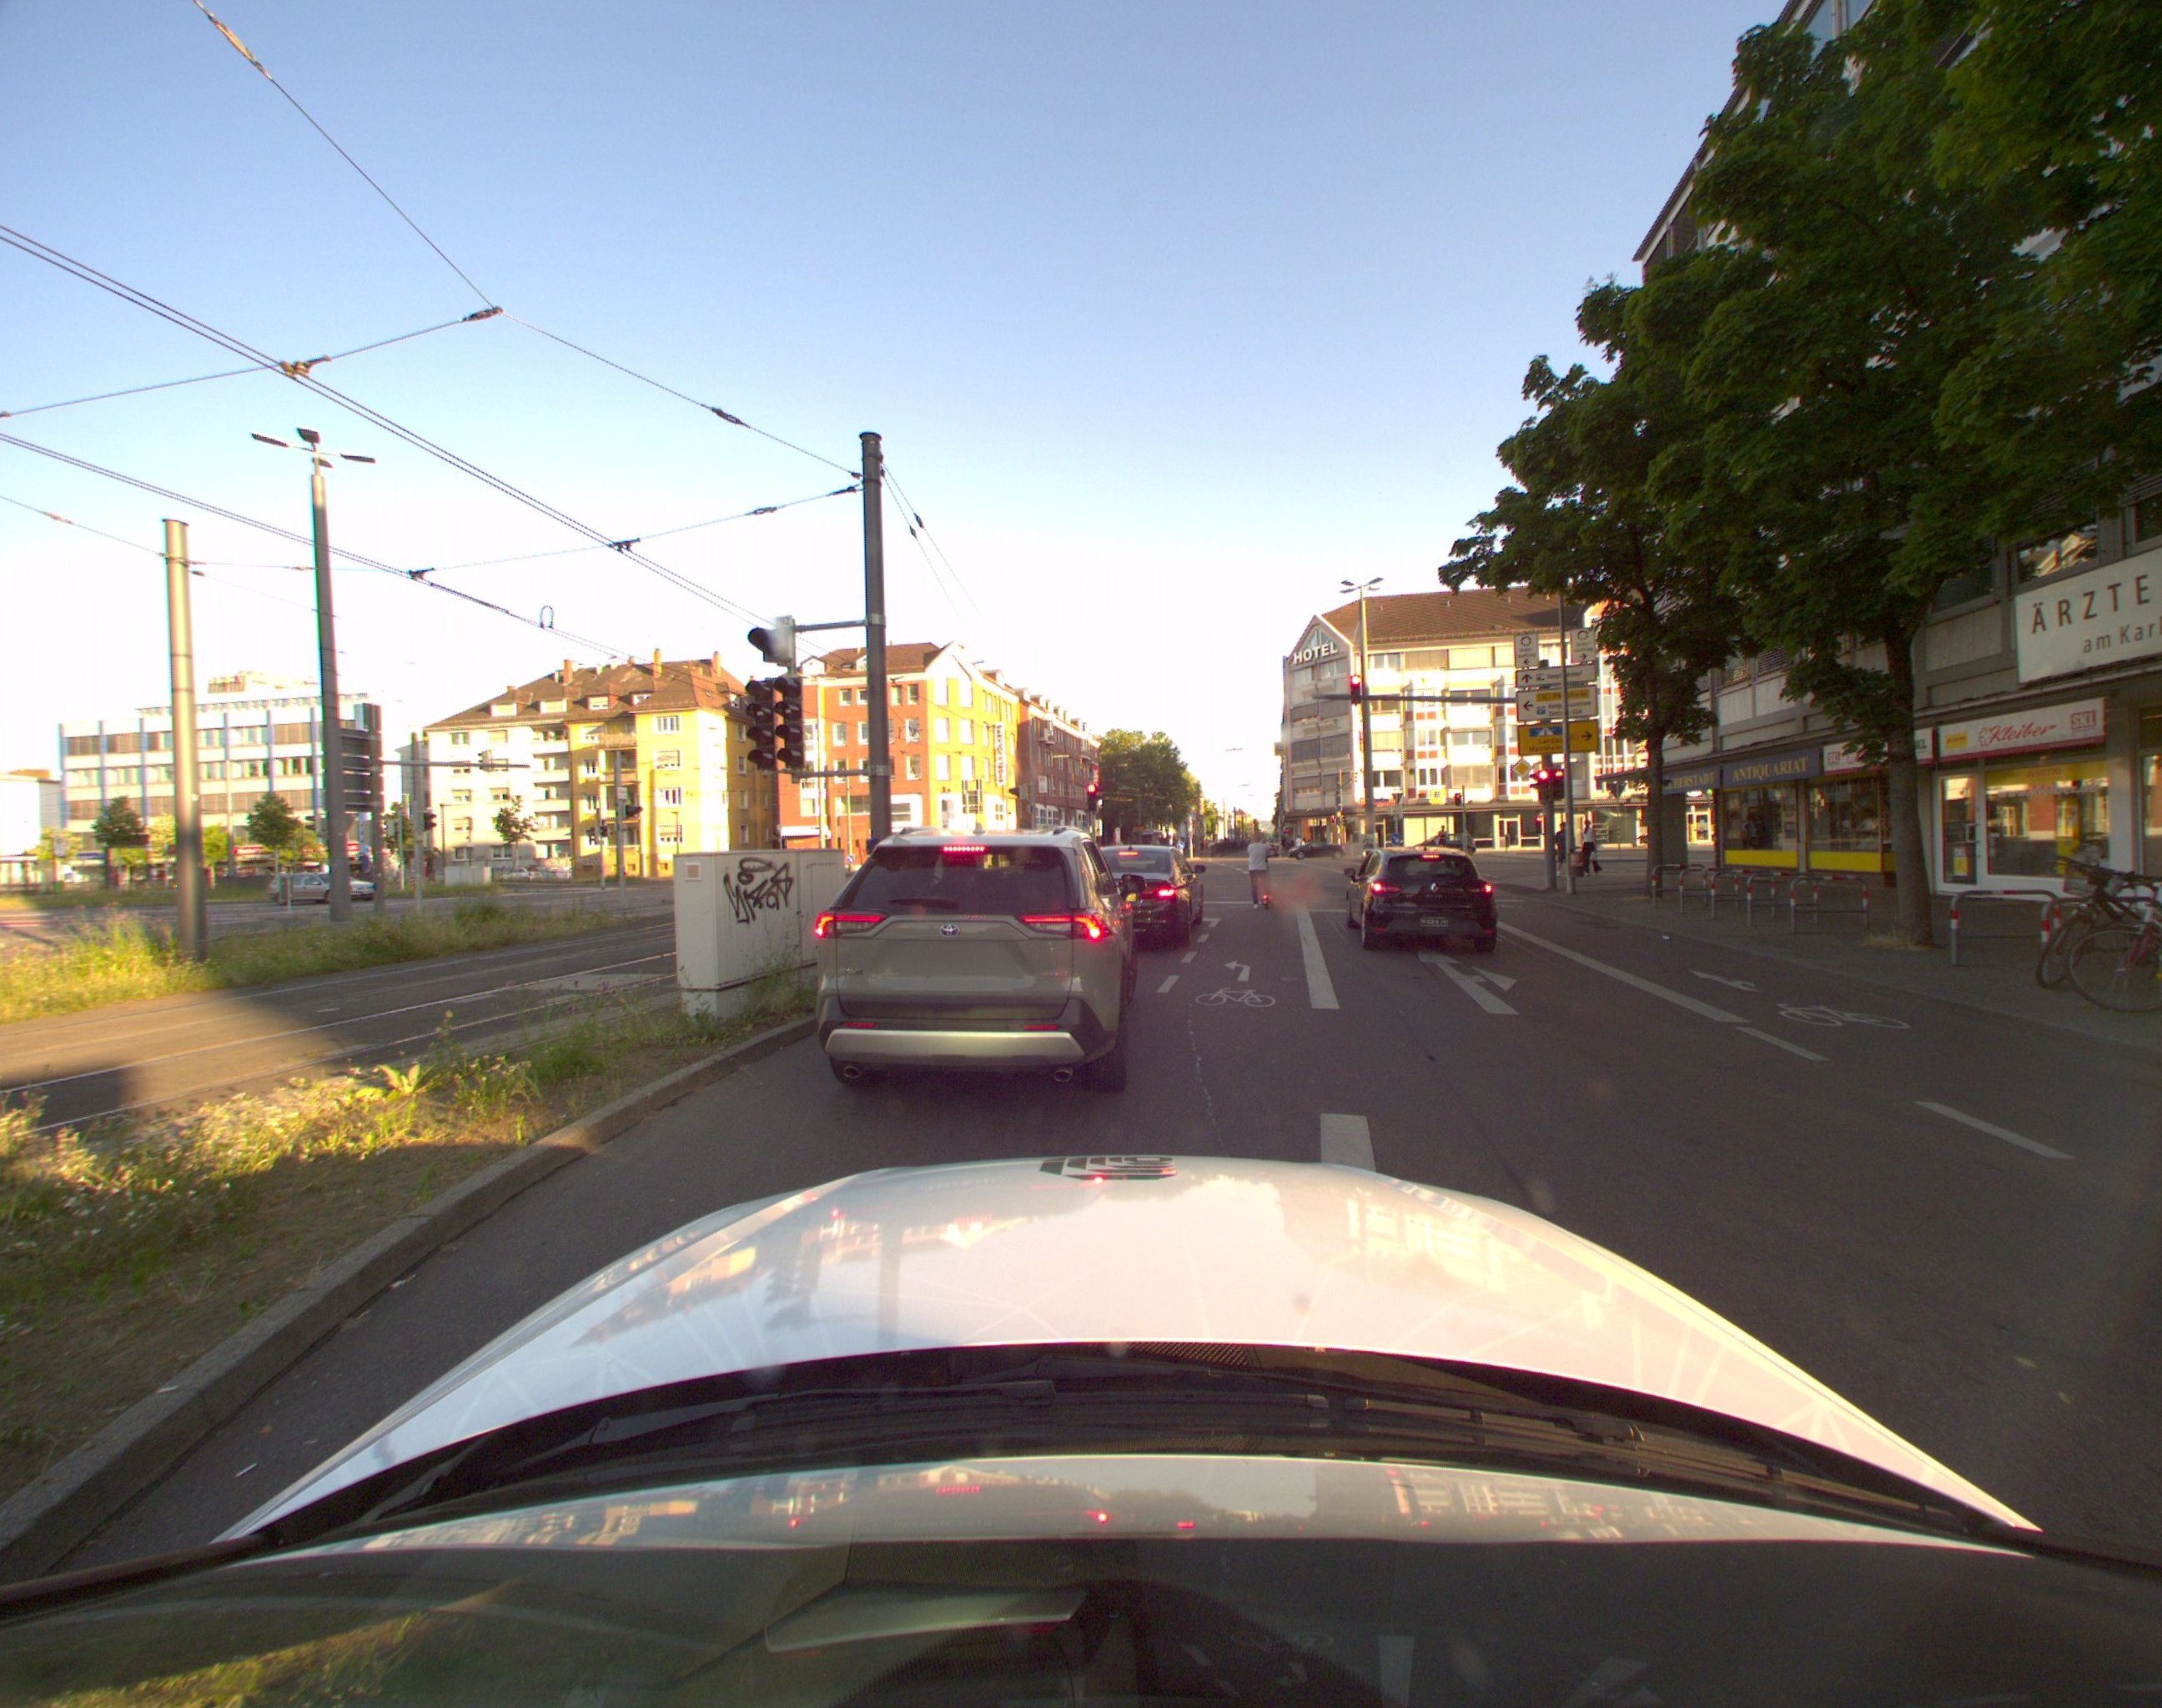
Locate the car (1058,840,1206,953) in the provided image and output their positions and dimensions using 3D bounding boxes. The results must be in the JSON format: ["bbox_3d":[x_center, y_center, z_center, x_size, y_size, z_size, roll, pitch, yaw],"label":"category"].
[{"bbox_3d":[1.006,0.534,13.201,1.733,1.460,4.425,0,2,12],"label":"car"}]

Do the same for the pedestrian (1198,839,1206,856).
[{"bbox_3d":[11.941,-0.667,80.446,0.696,1.663,0.811,0,1,15],"label":"pedestrian"}]

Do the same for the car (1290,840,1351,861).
[{"bbox_3d":[16.868,-0.243,57.462,3.961,1.476,2.007,0,1,11],"label":"car"}]

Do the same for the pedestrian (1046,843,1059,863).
[{"bbox_3d":[-2.965,-0.083,83.999,1.086,2.013,1.167,0,1,11],"label":"pedestrian"}]

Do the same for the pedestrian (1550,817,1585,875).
[{"bbox_3d":[15.688,-0.266,26.257,1.003,1.830,0.720,-1,1,-43],"label":"pedestrian"}]

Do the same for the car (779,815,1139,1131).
[{"bbox_3d":[-0.503,0.563,6.289,1.827,1.636,4.096,-1,2,5],"label":"car"}]

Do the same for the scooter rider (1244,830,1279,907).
[{"bbox_3d":[3.960,0.295,17.836,0.656,1.647,0.665,0,1,21],"label":"scooter rider"}]

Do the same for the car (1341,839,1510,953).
[{"bbox_3d":[5.059,0.505,12.482,1.752,1.440,4.015,0,1,14],"label":"car"}]

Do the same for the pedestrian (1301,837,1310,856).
[{"bbox_3d":[18.599,-0.624,67.376,0.495,1.503,0.472,-2,0,-25],"label":"pedestrian"}]

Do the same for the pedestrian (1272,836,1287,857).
[{"bbox_3d":[16.655,-0.628,68.243,0.937,1.726,0.845,-1,1,-28],"label":"pedestrian"}]

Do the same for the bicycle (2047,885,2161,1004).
[{"bbox_3d":[8.907,0.714,6.350,1.802,0.891,0.417,0,1,20],"label":"bicycle"}]

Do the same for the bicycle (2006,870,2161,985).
[{"bbox_3d":[9.387,0.639,7.176,1.643,0.974,0.388,0,1,20],"label":"bicycle"}]

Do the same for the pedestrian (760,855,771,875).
[{"bbox_3d":[-27.141,0.931,70.063,0.665,1.743,0.689,-1,0,-6],"label":"pedestrian"}]

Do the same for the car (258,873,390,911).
[{"bbox_3d":[-34.526,1.698,37.216,4.316,1.551,2.003,-1,1,5],"label":"car"}]

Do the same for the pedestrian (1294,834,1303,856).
[{"bbox_3d":[17.942,-0.721,67.249,0.495,1.774,0.472,-2,0,-25],"label":"pedestrian"}]

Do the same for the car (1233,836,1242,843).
[{"bbox_3d":[38.707,-3.603,201.493,1.978,1.859,4.017,-1,1,16],"label":"car"}]

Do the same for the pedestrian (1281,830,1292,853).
[{"bbox_3d":[21.217,-1.258,84.240,1.077,2.365,1.060,0,1,14],"label":"pedestrian"}]

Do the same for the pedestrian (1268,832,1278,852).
[{"bbox_3d":[20.731,-1.276,87.943,0.926,2.196,0.855,0,1,10],"label":"pedestrian"}]

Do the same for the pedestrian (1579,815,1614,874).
[{"bbox_3d":[16.202,-0.295,25.603,1.003,1.830,0.720,-1,1,-43],"label":"pedestrian"}]

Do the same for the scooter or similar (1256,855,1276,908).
[{"bbox_3d":[4.039,0.583,17.760,0.277,1.090,1.263,0,1,20],"label":"scooter or similar"}]

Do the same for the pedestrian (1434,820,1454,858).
[{"bbox_3d":[17.249,-0.725,38.730,0.741,1.778,0.803,0,0,16],"label":"pedestrian"}]

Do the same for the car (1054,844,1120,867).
[{"bbox_3d":[0.479,0.089,60.087,4.523,1.620,2.004,-1,1,10],"label":"car"}]

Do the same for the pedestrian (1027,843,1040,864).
[{"bbox_3d":[-4.651,-0.032,79.543,1.086,2.013,0.911,0,1,11],"label":"pedestrian"}]

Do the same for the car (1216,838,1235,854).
[{"bbox_3d":[16.469,-0.911,92.513,1.798,1.746,3.730,0,1,15],"label":"car"}]

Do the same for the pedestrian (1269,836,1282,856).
[{"bbox_3d":[16.497,-0.675,69.078,0.724,1.623,0.766,-2,1,-24],"label":"pedestrian"}]

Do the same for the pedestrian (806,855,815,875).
[{"bbox_3d":[-23.135,0.930,69.706,0.547,1.642,0.502,0,1,12],"label":"pedestrian"}]

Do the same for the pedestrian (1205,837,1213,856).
[{"bbox_3d":[12.624,-0.750,80.197,0.696,1.822,0.811,0,1,15],"label":"pedestrian"}]

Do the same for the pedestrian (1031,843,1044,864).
[{"bbox_3d":[-4.362,-0.048,81.017,1.086,2.013,0.911,0,1,11],"label":"pedestrian"}]

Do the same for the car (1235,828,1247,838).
[{"bbox_3d":[30.943,-4.058,157.615,1.979,1.900,4.016,0,1,14],"label":"car"}]

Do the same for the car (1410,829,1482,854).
[{"bbox_3d":[25.076,-0.850,56.040,4.206,1.696,2.006,0,1,11],"label":"car"}]
